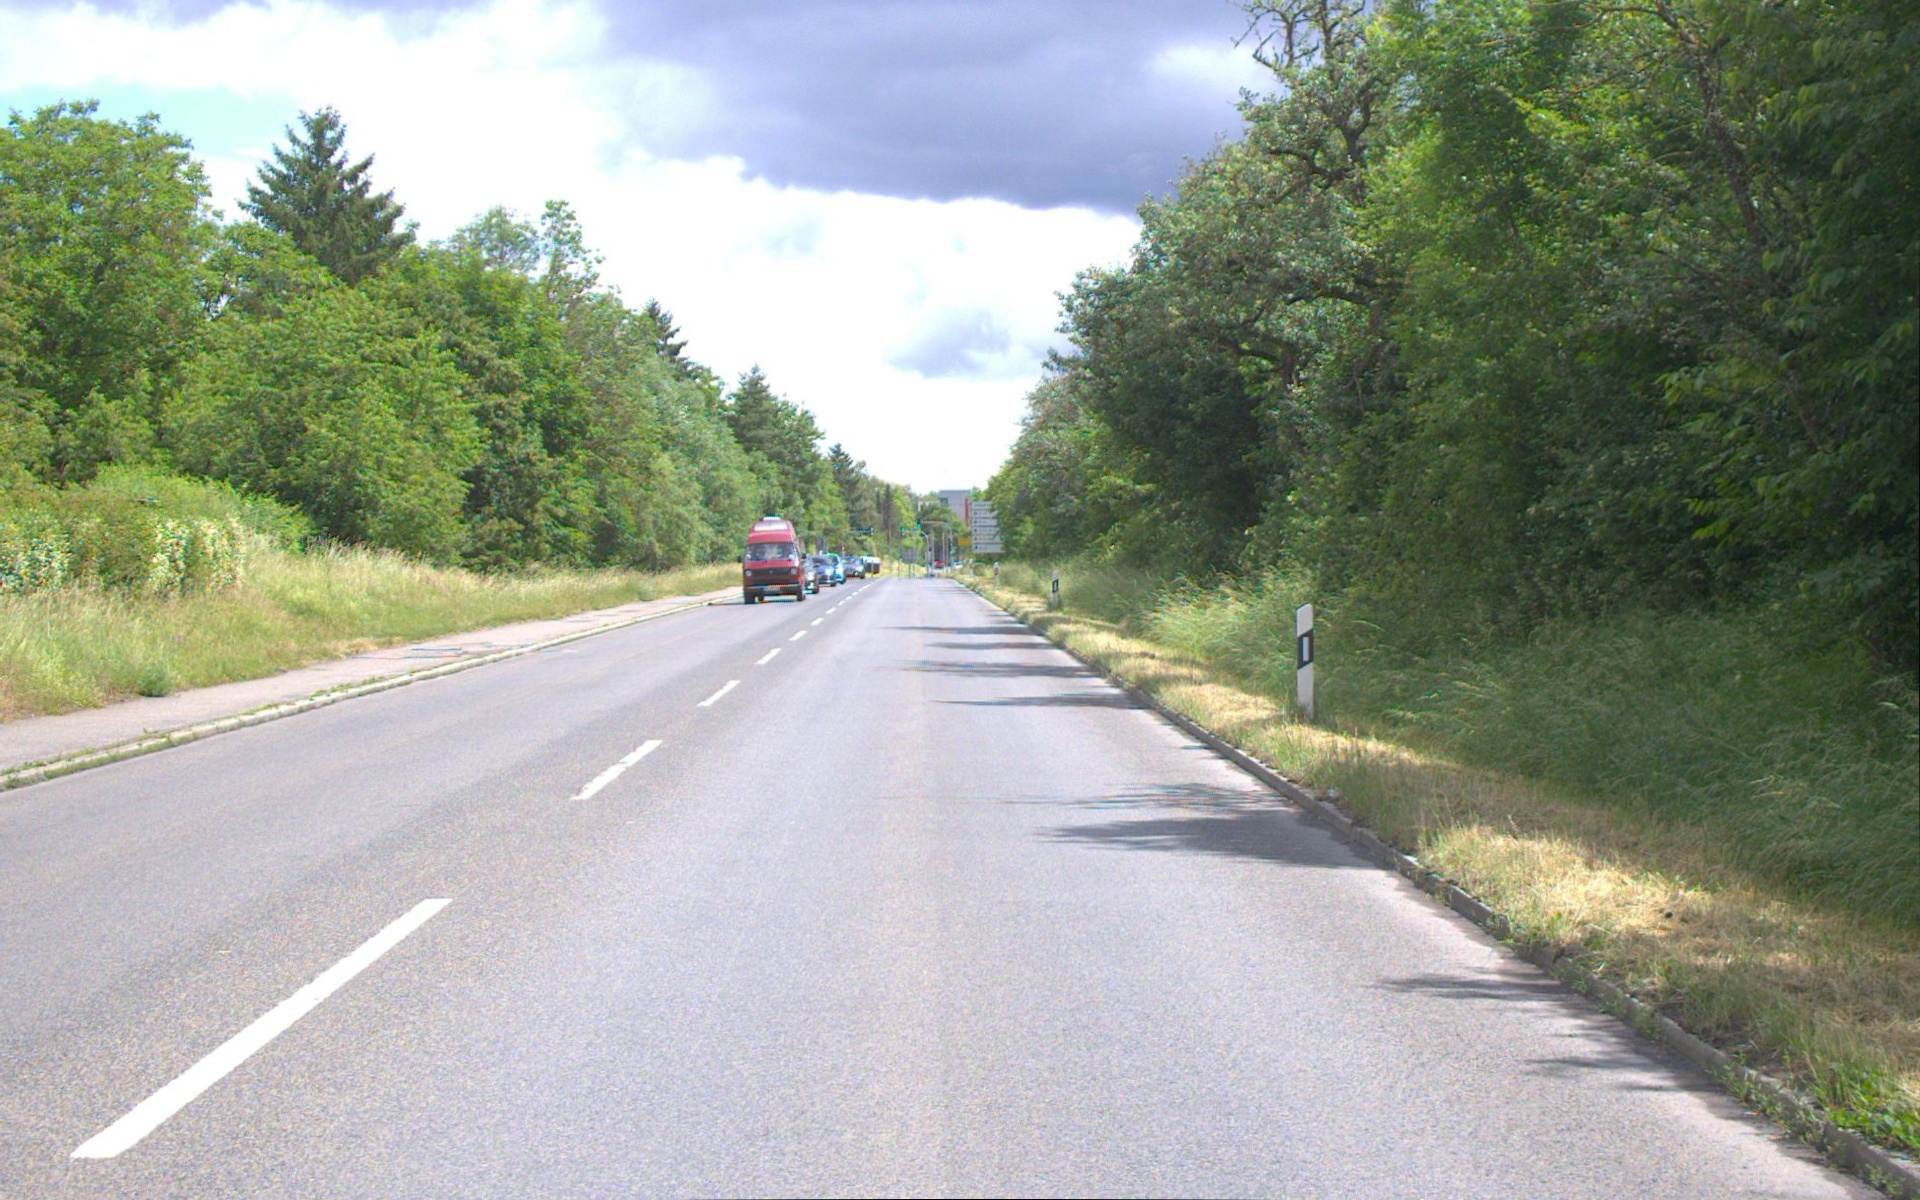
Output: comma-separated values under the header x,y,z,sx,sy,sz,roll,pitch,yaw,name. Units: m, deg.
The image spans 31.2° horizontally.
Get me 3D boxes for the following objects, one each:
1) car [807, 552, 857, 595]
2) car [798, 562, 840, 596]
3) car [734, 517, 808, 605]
x,y,z,sx,sy,sz,roll,pitch,yaw,name
-4.690,-0.981,126.167,1.716,1.466,4.000,-3,1,-1,car
-6.394,-0.971,156.472,1.784,1.441,4.453,-3,1,-2,car
-5.765,-1.204,105.132,1.969,2.541,4.725,-3,1,-1,car
